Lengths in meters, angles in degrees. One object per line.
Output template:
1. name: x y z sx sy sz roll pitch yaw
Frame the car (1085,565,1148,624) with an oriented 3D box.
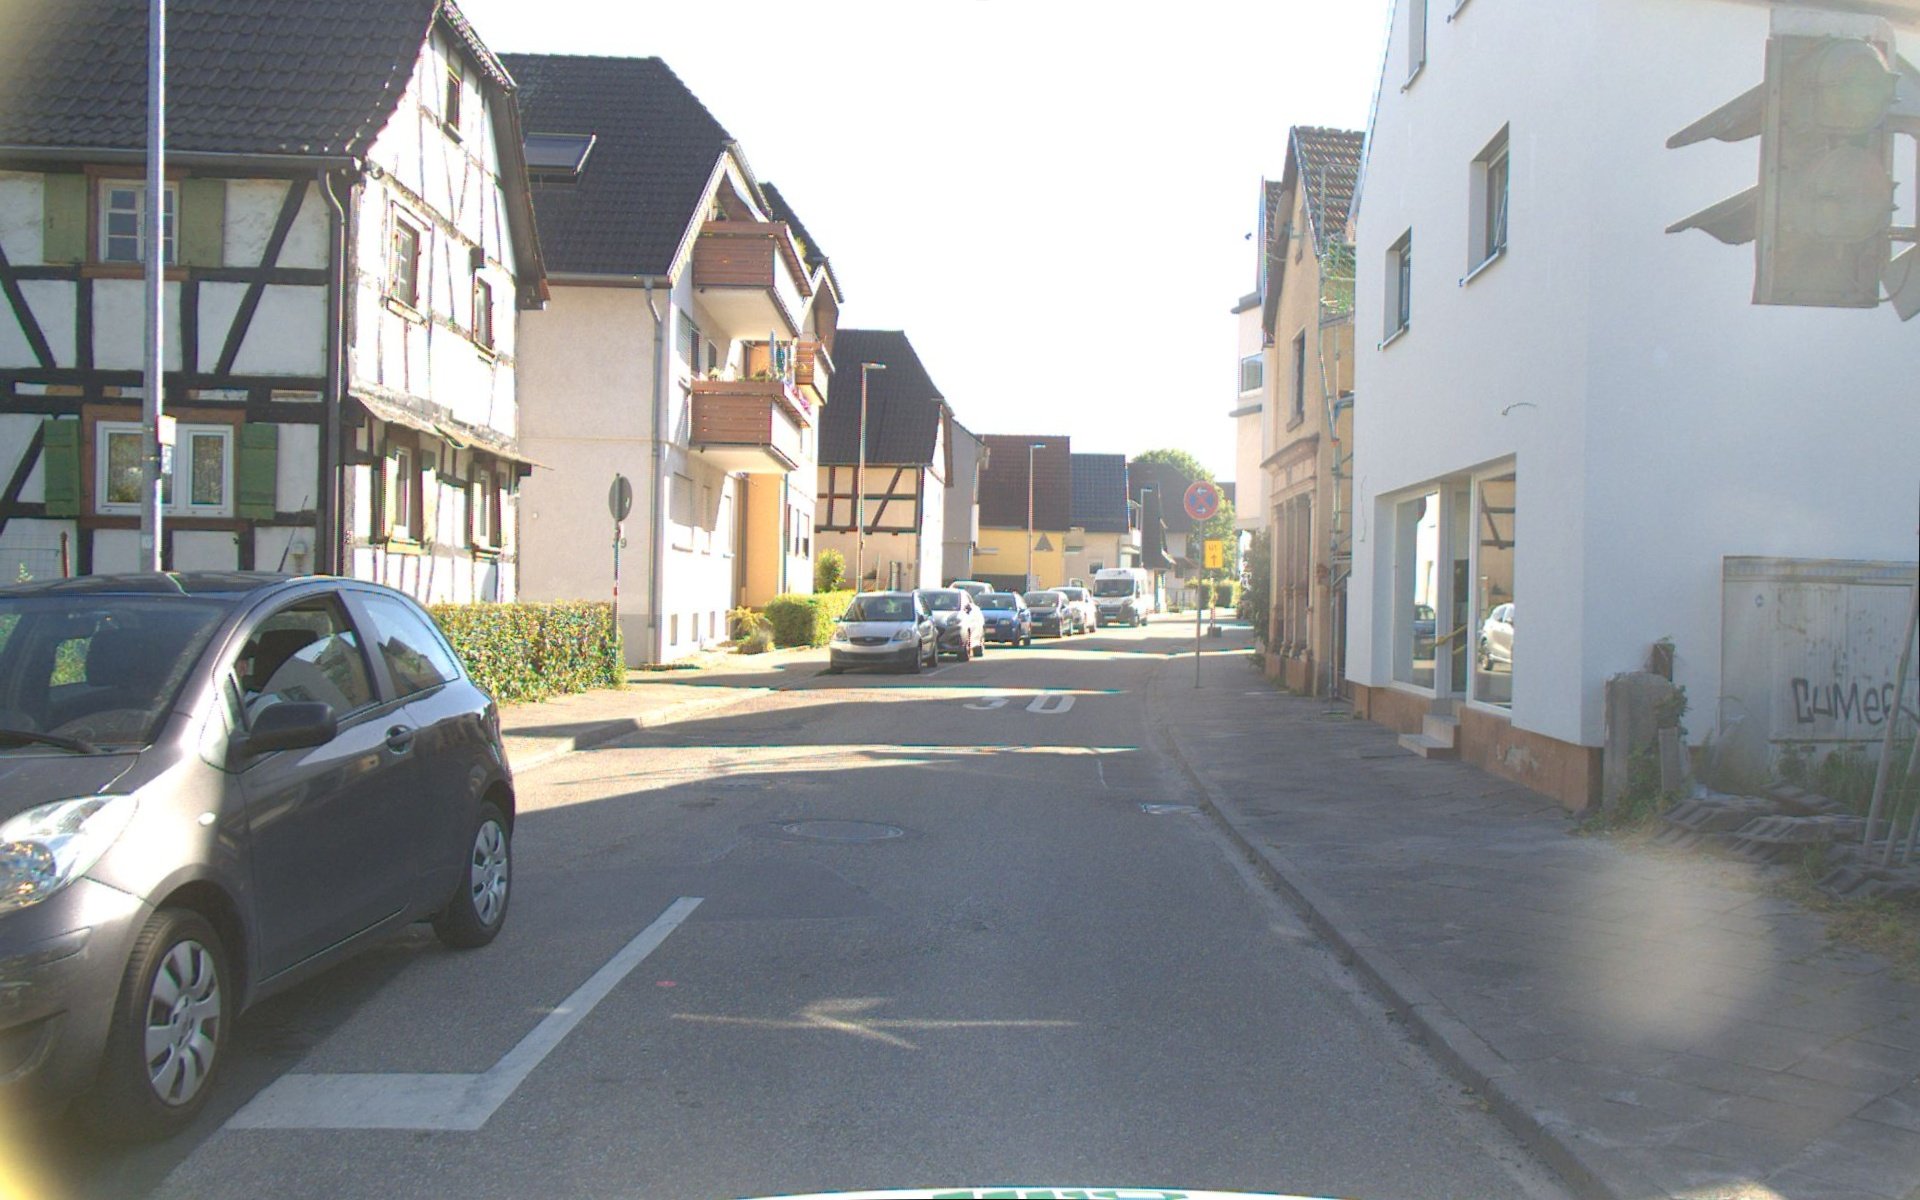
1. car: 6.799 -0.229 71.441 2.032 2.436 5.213 0 0 13

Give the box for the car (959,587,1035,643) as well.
1. car: 1.049 0.394 45.101 1.604 1.466 4.078 0 0 8

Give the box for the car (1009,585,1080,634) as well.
1. car: 2.827 0.313 54.426 1.667 1.545 4.125 0 0 12

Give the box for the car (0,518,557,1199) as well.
1. car: -2.751 0.616 5.553 1.651 1.536 3.656 -2 0 4

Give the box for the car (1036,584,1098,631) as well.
1. car: 3.841 0.246 58.896 1.638 1.599 3.969 0 0 12

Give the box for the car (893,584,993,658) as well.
1. car: -0.317 0.425 36.451 1.638 1.532 4.098 0 0 7

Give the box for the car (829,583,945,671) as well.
1. car: -1.307 0.465 31.149 1.596 1.532 3.856 -1 1 6
